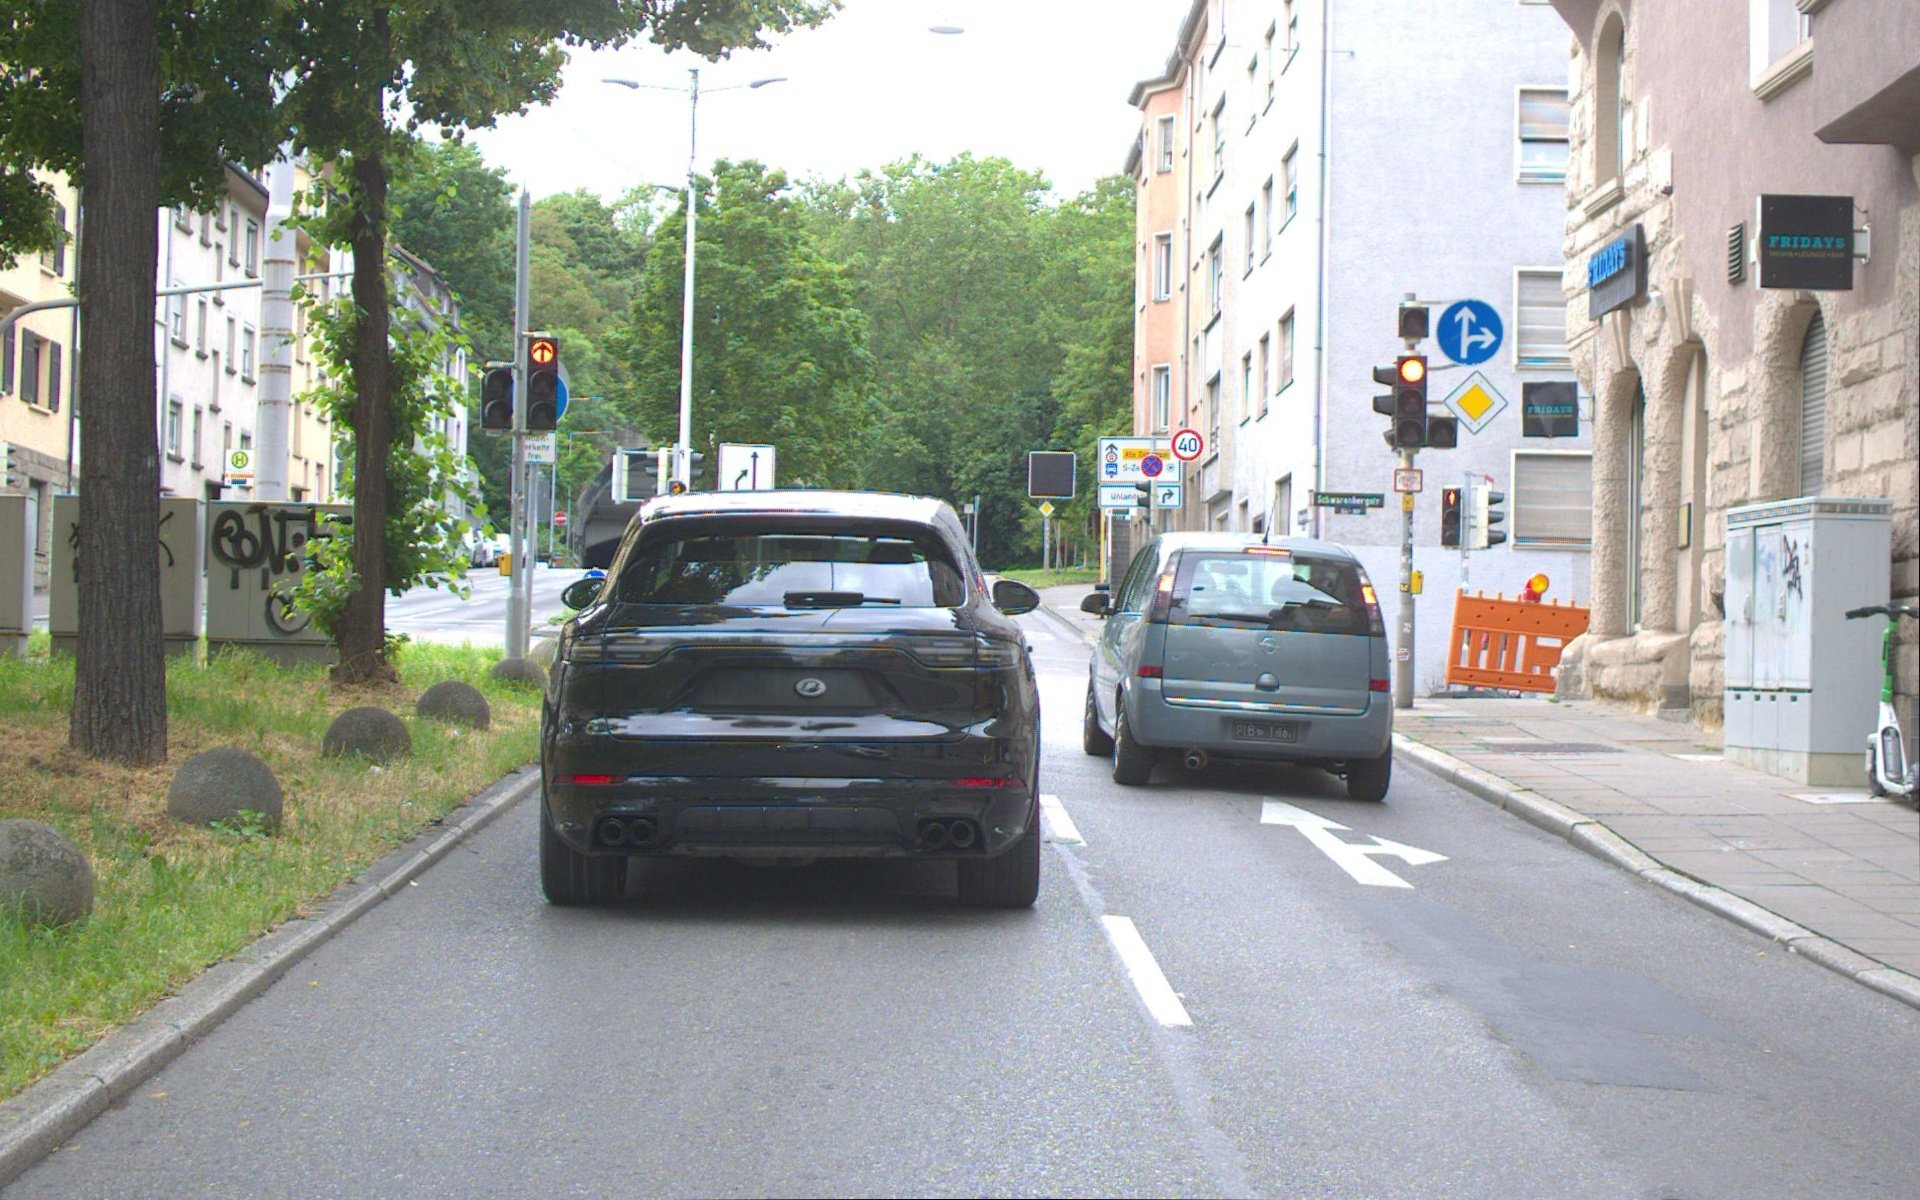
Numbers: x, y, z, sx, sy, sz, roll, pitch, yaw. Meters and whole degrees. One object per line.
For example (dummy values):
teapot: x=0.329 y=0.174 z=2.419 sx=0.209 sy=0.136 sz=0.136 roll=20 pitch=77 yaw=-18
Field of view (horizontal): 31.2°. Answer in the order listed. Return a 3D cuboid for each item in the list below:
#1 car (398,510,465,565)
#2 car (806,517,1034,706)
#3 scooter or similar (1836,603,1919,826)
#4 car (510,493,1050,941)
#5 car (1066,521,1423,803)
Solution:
car: x=-18.049 y=-2.140 z=117.624 sx=1.794 sy=1.804 sz=4.001 roll=1 pitch=1 yaw=-2
car: x=-0.362 y=0.079 z=32.363 sx=1.994 sy=1.647 sz=4.000 roll=1 pitch=1 yaw=0
scooter or similar: x=5.409 y=0.640 z=19.859 sx=0.401 sy=1.184 sz=1.354 roll=0 pitch=3 yaw=3
car: x=-0.679 y=0.380 z=14.797 sx=1.994 sy=1.647 sz=4.000 roll=1 pitch=2 yaw=0
car: x=1.753 y=0.331 z=22.308 sx=1.752 sy=1.588 sz=3.631 roll=3 pitch=1 yaw=-3
